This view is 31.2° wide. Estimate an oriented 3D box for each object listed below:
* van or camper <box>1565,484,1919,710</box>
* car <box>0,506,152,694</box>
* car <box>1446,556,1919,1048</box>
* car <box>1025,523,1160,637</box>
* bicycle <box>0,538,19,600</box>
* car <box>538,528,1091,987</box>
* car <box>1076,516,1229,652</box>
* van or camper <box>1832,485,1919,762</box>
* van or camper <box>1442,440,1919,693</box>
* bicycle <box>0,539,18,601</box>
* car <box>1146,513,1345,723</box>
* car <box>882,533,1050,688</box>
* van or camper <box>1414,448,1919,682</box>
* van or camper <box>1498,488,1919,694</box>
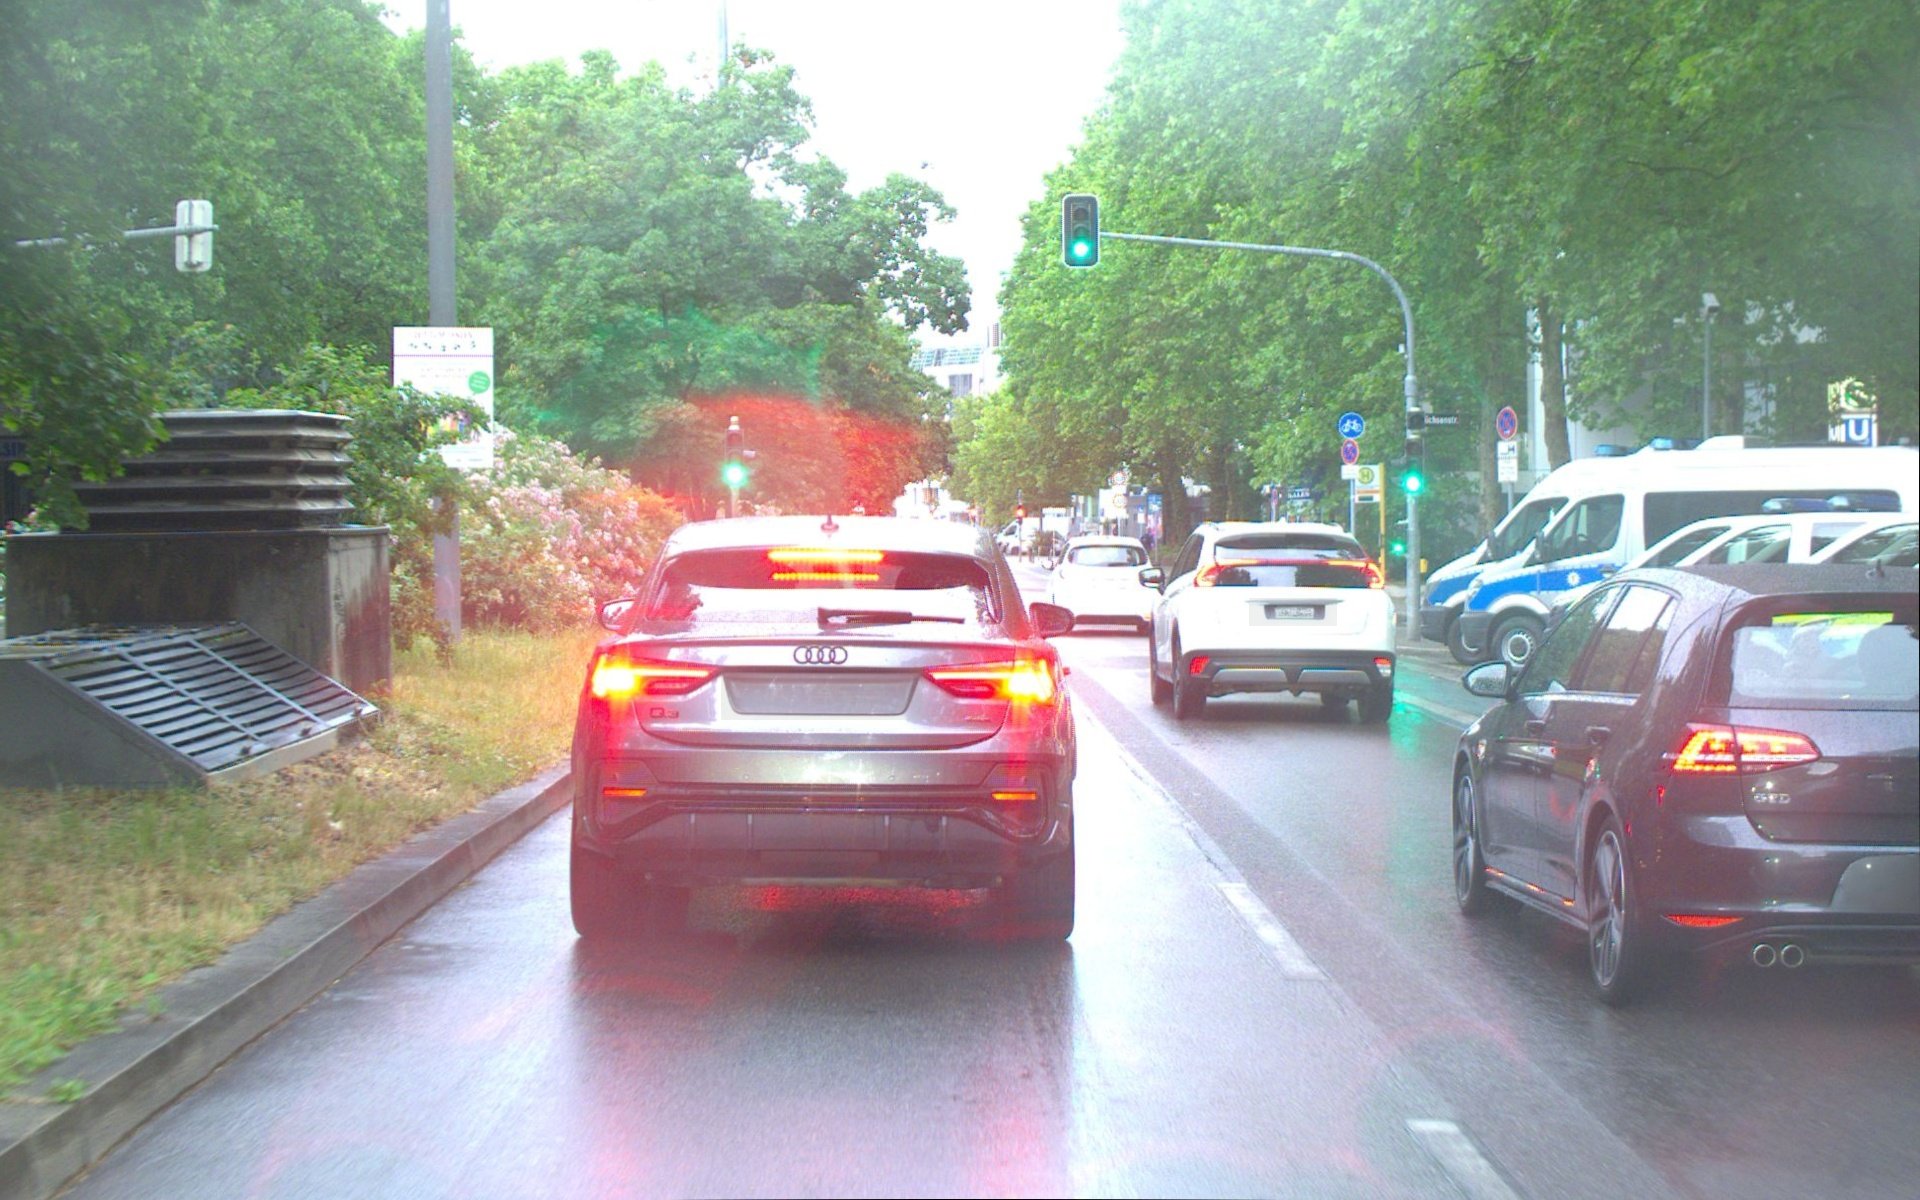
[{"bbox_3d":[8.449,-0.028,31.839,5.203,1.985,1.996,2,1,34],"label":"van or camper"},{"bbox_3d":[-7.150,-0.030,26.799,1.050,1.383,2.694,0,1,0],"label":"car"},{"bbox_3d":[2.914,0.574,12.198,1.765,1.408,4.000,0,1,-1],"label":"car"},{"bbox_3d":[2.087,-0.352,55.157,1.993,1.744,4.000,0,1,0],"label":"car"},{"bbox_3d":[-18.543,-0.582,64.134,1.844,1.145,0.566,-1,1,-6],"label":"bicycle"},{"bbox_3d":[-0.456,0.486,13.890,1.863,1.527,4.527,0,1,1],"label":"car"},{"bbox_3d":[2.542,-0.254,46.202,1.822,1.744,4.000,0,1,0],"label":"car"},{"bbox_3d":[9.121,0.192,24.725,5.102,2.018,2.101,1,2,38],"label":"van or camper"},{"bbox_3d":[8.496,-0.404,38.713,5.805,2.671,1.996,1,1,35],"label":"van or camper"},{"bbox_3d":[-18.423,-0.558,63.567,1.844,1.133,0.566,-1,1,-6],"label":"bicycle"},{"bbox_3d":[2.374,0.110,29.123,1.433,1.679,2.979,0,1,0],"label":"car"},{"bbox_3d":[0.039,0.073,37.330,1.721,1.572,3.962,0,1,-1],"label":"car"},{"bbox_3d":[8.612,-0.461,41.850,5.810,2.668,2.143,1,1,37],"label":"van or camper"},{"bbox_3d":[8.288,-0.098,35.534,5.011,2.007,1.996,1,0,36],"label":"van or camper"}]
